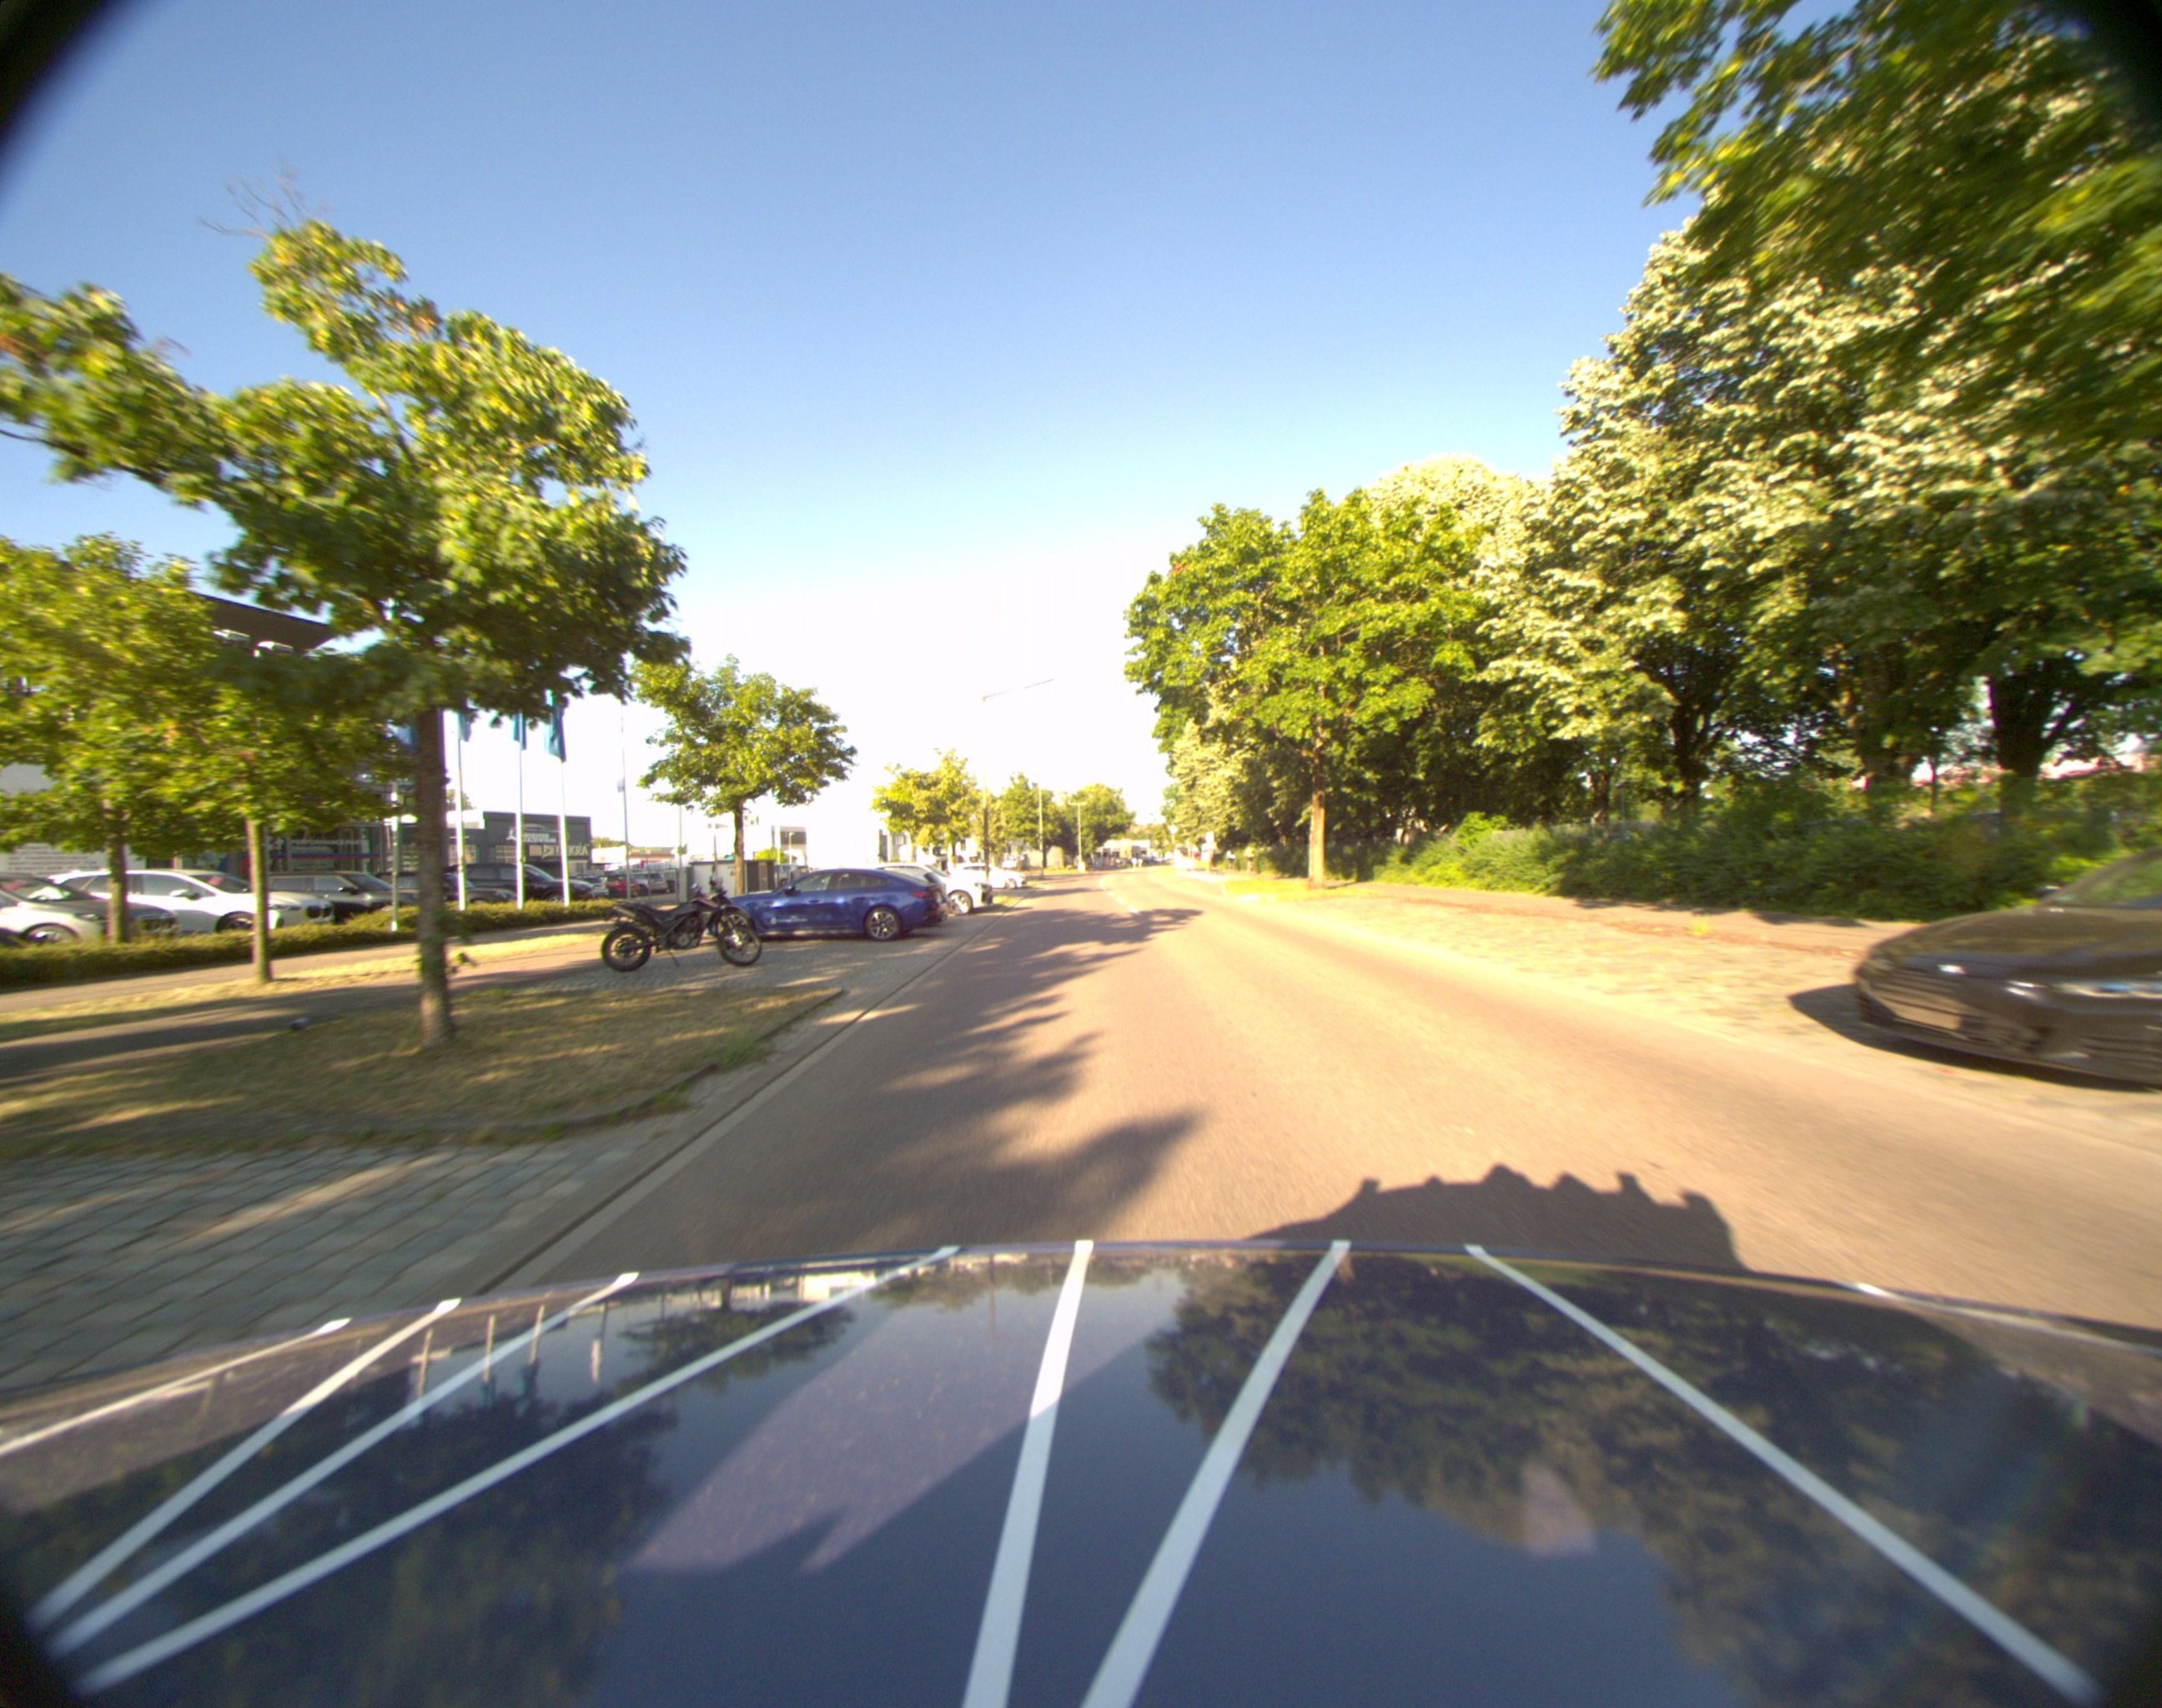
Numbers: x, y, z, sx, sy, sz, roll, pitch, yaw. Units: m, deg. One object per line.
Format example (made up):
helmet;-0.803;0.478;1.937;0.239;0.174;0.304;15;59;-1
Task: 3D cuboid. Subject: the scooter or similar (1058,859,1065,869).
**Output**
scooter or similar;-2.566;1.315;101.162;0.547;1.328;1.483;-1;0;15

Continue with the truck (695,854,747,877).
truck;-55.068;1.728;116.439;1.995;3.331;7.127;-1;0;32

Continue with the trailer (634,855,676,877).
trailer;-60.721;1.710;108.382;1.995;3.051;4.867;-1;0;32

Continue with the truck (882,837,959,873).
truck;-16.774;0.178;79.057;8.231;3.501;3.122;-2;0;37

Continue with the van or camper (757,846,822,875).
van or camper;-35.272;0.813;91.753;8.117;3.309;2.419;-2;0;27

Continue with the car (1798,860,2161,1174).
car;7.782;0.782;4.827;4.661;1.413;1.916;-4;0;-2

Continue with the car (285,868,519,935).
car;-19.174;1.277;21.782;4.611;1.656;1.996;-1;0;-26

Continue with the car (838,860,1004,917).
car;-4.673;0.989;22.767;4.603;1.575;2.000;0;0;-3

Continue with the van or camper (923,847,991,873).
van or camper;-14.779;0.741;90.237;7.990;2.883;2.948;-2;0;32

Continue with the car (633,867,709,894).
car;-26.947;1.727;49.993;3.991;1.570;2.163;-2;2;19

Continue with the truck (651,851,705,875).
truck;-63.903;1.380;120.545;2.670;3.554;7.127;-1;0;32

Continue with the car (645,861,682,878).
car;-58.229;2.207;106.037;2.083;2.264;4.008;-2;0;32

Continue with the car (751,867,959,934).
car;-5.300;1.068;18.309;4.387;1.470;2.000;0;0;0

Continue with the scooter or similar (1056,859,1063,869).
scooter or similar;-2.846;1.301;99.652;0.547;1.189;1.483;-2;0;15

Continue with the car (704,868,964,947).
car;-4.885;1.045;15.524;4.636;1.447;2.000;0;0;0

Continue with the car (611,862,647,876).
car;-66.121;2.194;111.280;1.995;2.002;4.008;-2;0;31

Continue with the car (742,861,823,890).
car;-17.248;1.242;43.983;3.991;1.569;2.003;-2;0;19

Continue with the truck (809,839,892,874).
truck;-25.726;0.361;84.444;10.091;3.623;3.302;-2;0;36

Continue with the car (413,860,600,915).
car;-18.830;1.043;25.211;4.611;1.656;1.996;0;0;-25

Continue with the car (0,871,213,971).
car;-18.515;1.124;12.856;4.611;1.565;1.996;0;0;-26

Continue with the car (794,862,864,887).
car;-16.941;1.363;51.100;3.991;1.569;2.003;-2;0;19

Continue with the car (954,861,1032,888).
car;-4.904;1.146;42.853;4.209;1.435;2.088;0;0;-1

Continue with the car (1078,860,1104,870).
car;1.990;2.263;153.742;4.833;2.002;2.305;-2;0;39

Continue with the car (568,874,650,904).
car;-28.290;2.084;45.548;3.991;1.570;2.002;-2;2;19

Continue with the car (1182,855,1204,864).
car;25.251;1.248;171.441;2.304;2.001;4.835;-1;-1;-34

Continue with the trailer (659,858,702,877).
trailer;-55.736;1.843;105.740;1.995;2.422;4.868;-2;0;32

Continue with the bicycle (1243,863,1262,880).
bicycle;11.402;1.166;50.604;0.767;1.033;2.217;-2;0;0

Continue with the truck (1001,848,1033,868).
truck;-9.100;0.536;108.797;2.541;2.704;5.980;-2;0;17

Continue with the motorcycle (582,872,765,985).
motorcycle;-5.796;1.017;10.979;2.131;1.457;0.948;-1;0;-15

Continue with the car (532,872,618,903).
car;-28.902;1.915;43.428;3.991;1.570;2.002;-2;2;19

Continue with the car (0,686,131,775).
car;-28.159;-3.231;20.346;3.993;1.656;1.789;-4;-1;13

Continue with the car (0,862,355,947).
car;-18.696;0.963;15.905;4.609;1.565;1.997;0;0;-19

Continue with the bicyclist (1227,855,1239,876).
bicyclist;11.588;0.874;58.006;0.732;1.521;0.951;-2;0;1

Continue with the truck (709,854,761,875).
truck;-52.333;1.552;115.199;1.995;2.889;7.127;-1;0;32

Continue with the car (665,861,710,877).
car;-53.164;1.973;102.802;1.995;2.002;5.061;-1;0;31

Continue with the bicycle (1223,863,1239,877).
bicycle;11.508;1.216;58.500;0.767;1.033;2.217;-2;0;0

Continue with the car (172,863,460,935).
car;-18.622;1.029;18.845;4.611;1.565;1.996;0;0;-26

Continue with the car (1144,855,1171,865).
car;16.058;1.286;159.358;5.276;2.002;2.410;-2;-1;40

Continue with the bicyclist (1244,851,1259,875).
bicyclist;11.373;0.603;50.718;0.732;1.521;0.951;-2;0;1
